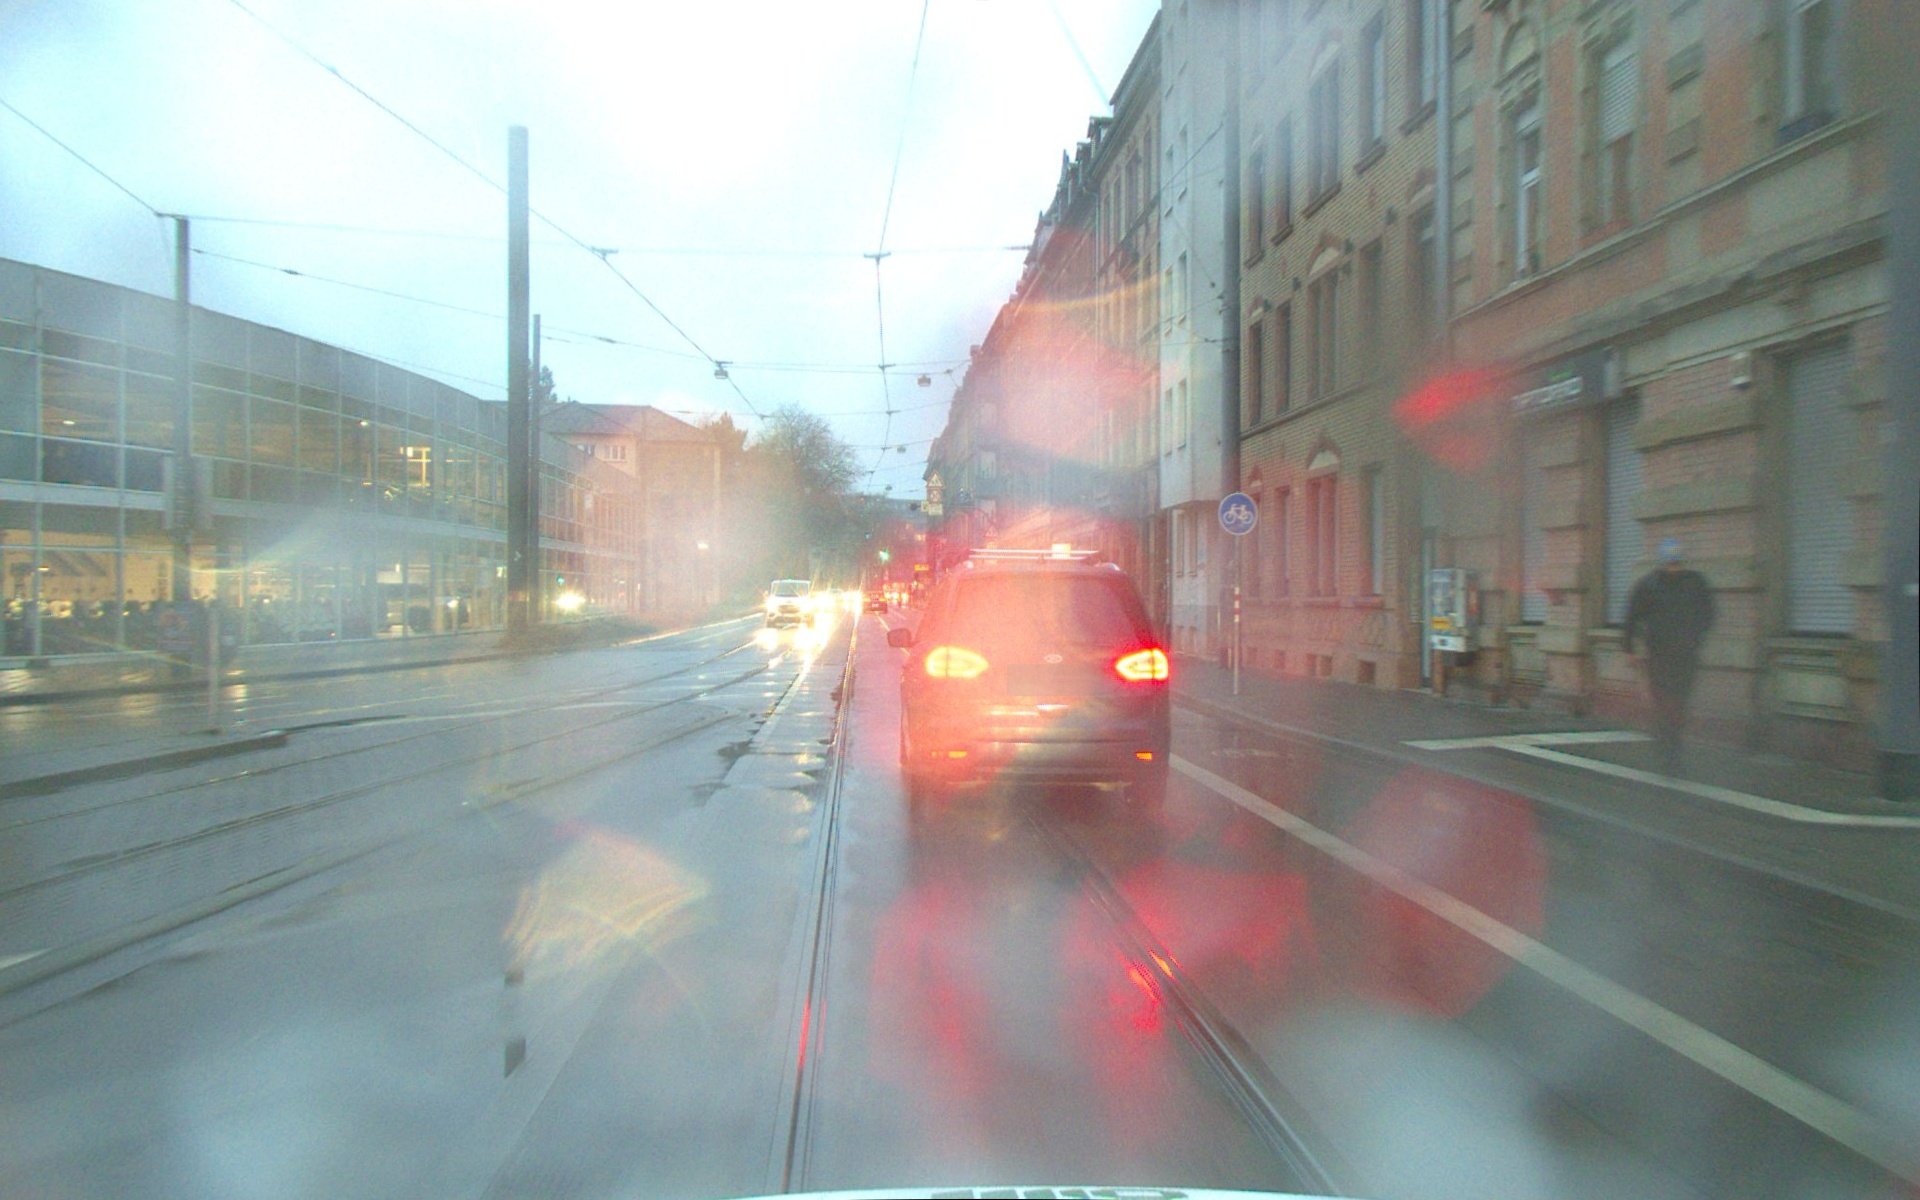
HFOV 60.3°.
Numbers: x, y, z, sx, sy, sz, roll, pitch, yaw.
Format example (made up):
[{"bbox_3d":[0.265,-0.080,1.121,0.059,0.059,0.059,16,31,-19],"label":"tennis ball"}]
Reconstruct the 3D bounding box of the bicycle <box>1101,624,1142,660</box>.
[{"bbox_3d":[3.695,0.952,37.920,0.596,0.774,1.859,0,0,-5],"label":"bicycle"}]

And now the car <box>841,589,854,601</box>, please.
[{"bbox_3d":[-16.233,-0.749,238.600,1.838,1.739,4.756,-1,0,-4],"label":"car"}]

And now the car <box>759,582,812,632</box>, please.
[{"bbox_3d":[-7.529,0.301,71.870,1.953,2.049,4.683,1,0,-2],"label":"car"}]

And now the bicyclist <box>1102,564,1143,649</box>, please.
[{"bbox_3d":[3.732,0.142,37.962,0.730,1.913,1.110,0,0,-6],"label":"bicyclist"}]

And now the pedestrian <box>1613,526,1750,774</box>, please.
[{"bbox_3d":[5.556,0.373,12.769,0.736,1.857,0.710,0,0,-1],"label":"pedestrian"}]

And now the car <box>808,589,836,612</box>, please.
[{"bbox_3d":[-10.021,0.017,120.465,1.804,1.606,4.440,0,0,-2],"label":"car"}]

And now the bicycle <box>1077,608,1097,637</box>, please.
[{"bbox_3d":[4.157,0.732,54.200,0.389,0.927,1.865,0,0,-4],"label":"bicycle"}]

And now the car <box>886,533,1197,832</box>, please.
[{"bbox_3d":[0.495,0.520,12.412,1.953,1.874,3.999,0,0,-1],"label":"car"}]
